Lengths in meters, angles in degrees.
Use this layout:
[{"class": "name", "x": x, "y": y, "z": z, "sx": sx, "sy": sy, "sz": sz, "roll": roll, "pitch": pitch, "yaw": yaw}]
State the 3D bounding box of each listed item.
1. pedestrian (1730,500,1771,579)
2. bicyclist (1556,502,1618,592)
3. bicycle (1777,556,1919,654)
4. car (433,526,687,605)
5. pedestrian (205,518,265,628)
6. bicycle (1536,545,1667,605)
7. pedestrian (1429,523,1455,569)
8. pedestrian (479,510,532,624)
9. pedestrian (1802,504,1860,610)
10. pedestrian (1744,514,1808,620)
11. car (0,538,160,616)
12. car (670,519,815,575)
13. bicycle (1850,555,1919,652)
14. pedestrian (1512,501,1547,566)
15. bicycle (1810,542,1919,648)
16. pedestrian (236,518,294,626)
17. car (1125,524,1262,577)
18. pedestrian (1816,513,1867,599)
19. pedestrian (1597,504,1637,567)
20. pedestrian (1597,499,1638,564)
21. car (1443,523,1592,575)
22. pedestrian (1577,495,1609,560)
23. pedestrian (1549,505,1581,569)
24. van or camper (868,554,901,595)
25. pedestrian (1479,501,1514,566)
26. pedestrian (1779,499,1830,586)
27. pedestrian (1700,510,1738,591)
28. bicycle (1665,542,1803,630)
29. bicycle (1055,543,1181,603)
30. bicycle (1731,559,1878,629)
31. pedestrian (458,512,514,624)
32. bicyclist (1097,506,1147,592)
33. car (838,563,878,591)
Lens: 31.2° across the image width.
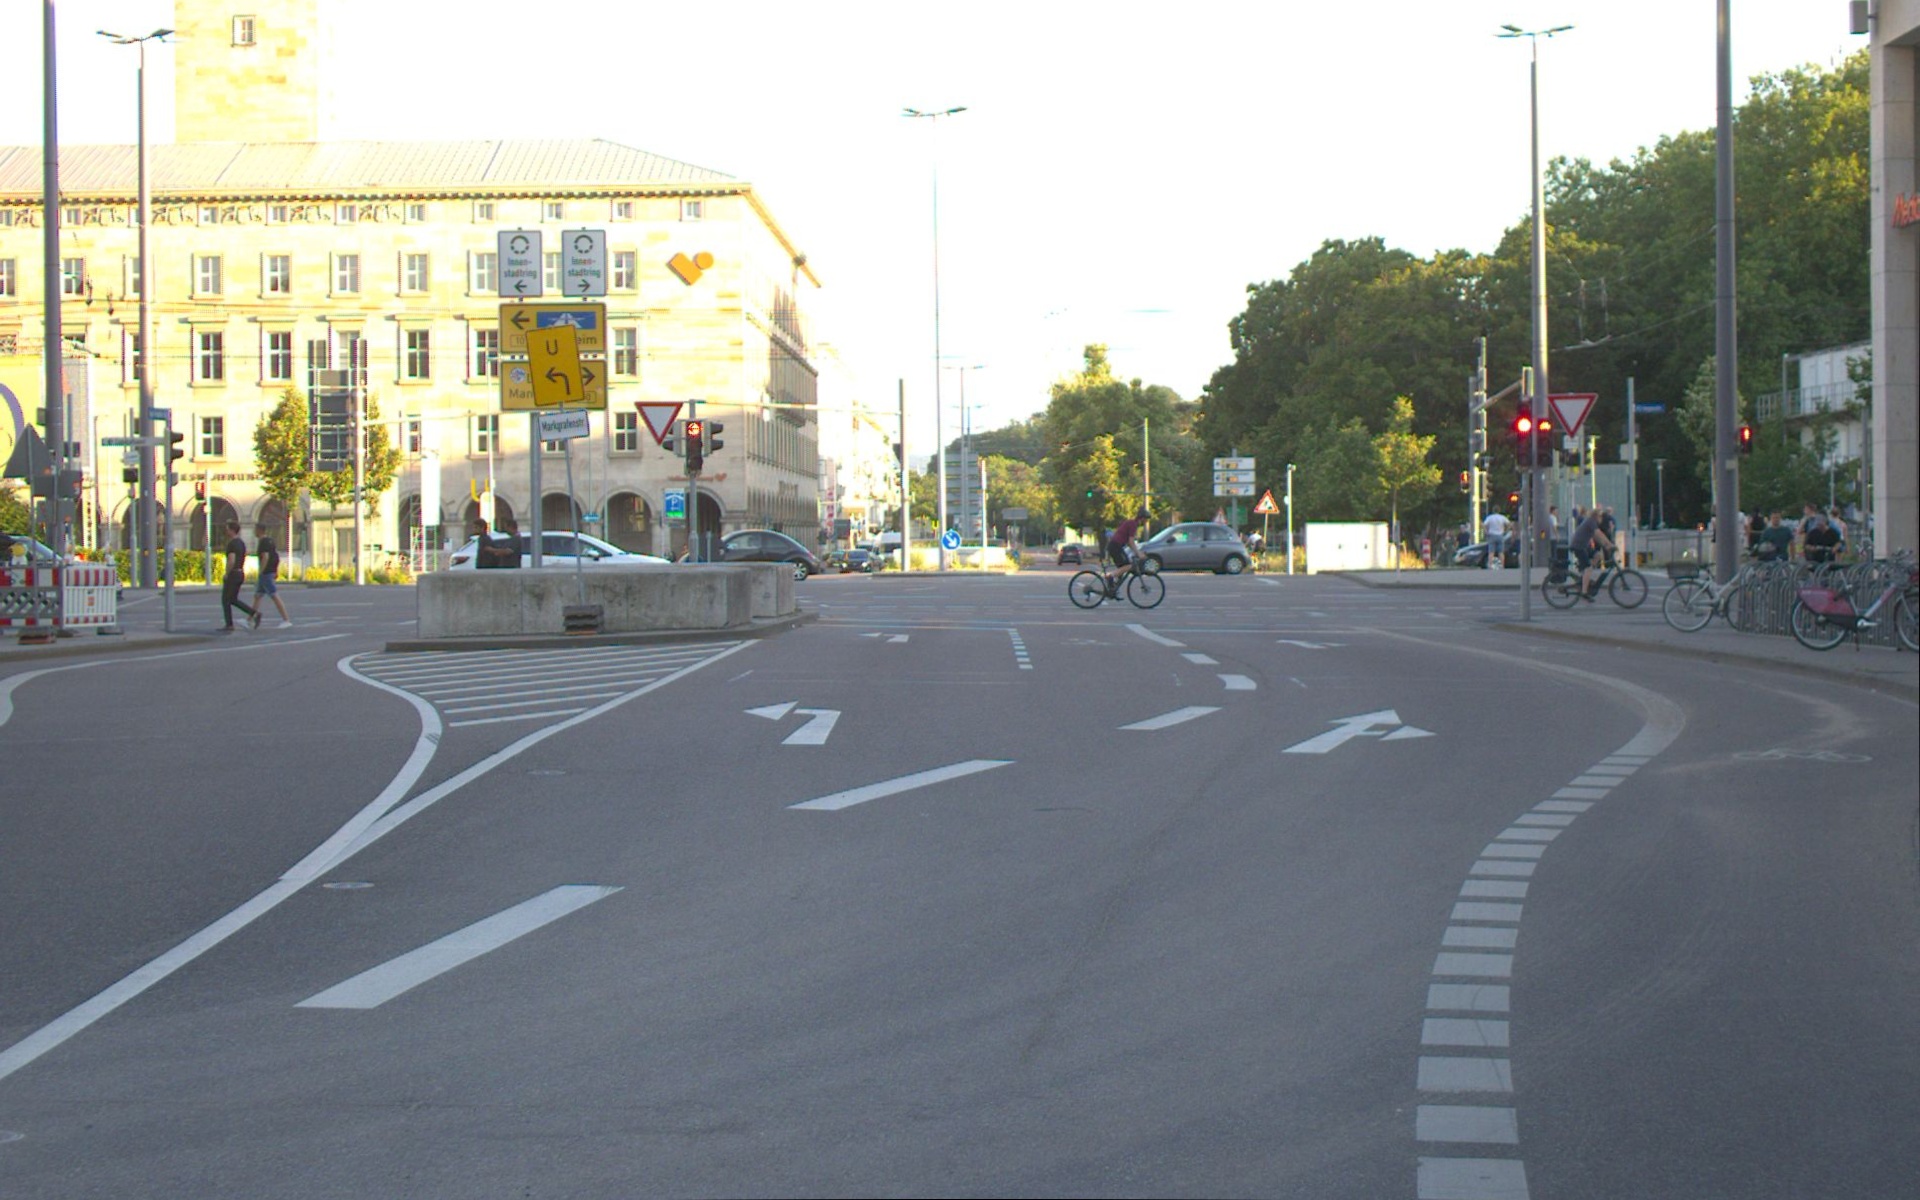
[{"class": "pedestrian", "x": 17.430, "y": -1.333, "z": 75.774, "sx": 0.836, "sy": 1.724, "sz": 0.687, "roll": 0, "pitch": 1, "yaw": 17}, {"class": "bicyclist", "x": 11.308, "y": -0.961, "z": 62.029, "sx": 1.020, "sy": 1.615, "sz": 0.653, "roll": -1, "pitch": 1, "yaw": 3}, {"class": "bicycle", "x": 9.943, "y": 0.052, "z": 37.598, "sx": 1.898, "sy": 1.044, "sz": 0.570, "roll": 0, "pitch": 1, "yaw": 6}, {"class": "car", "x": -7.916, "y": -0.695, "z": 68.371, "sx": 4.797, "sy": 1.490, "sz": 2.128, "roll": 0, "pitch": 1, "yaw": 1}, {"class": "pedestrian", "x": -12.069, "y": -0.456, "z": 57.217, "sx": 0.738, "sy": 1.771, "sz": 0.863, "roll": -3, "pitch": 1, "yaw": -2}, {"class": "bicycle", "x": 11.567, "y": -0.451, "z": 62.033, "sx": 2.242, "sy": 1.058, "sz": 0.653, "roll": -1, "pitch": 1, "yaw": 3}, {"class": "pedestrian", "x": 18.103, "y": -2.034, "z": 129.114, "sx": 0.808, "sy": 1.724, "sz": 0.929, "roll": 0, "pitch": 1, "yaw": -1}, {"class": "pedestrian", "x": -7.154, "y": -0.520, "z": 54.091, "sx": 0.738, "sy": 1.771, "sz": 0.864, "roll": -2, "pitch": 1, "yaw": -11}, {"class": "pedestrian", "x": 14.967, "y": -0.739, "z": 59.085, "sx": 0.756, "sy": 1.771, "sz": 0.741, "roll": -3, "pitch": 1, "yaw": 2}, {"class": "pedestrian", "x": 14.064, "y": -0.567, "z": 59.269, "sx": 0.860, "sy": 1.771, "sz": 0.741, "roll": -3, "pitch": 1, "yaw": 2}, {"class": "car", "x": -18.482, "y": -0.467, "z": 68.701, "sx": 4.460, "sy": 1.490, "sz": 2.128, "roll": 0, "pitch": 1, "yaw": 1}, {"class": "car", "x": -6.102, "y": -1.490, "z": 96.180, "sx": 3.986, "sy": 1.489, "sz": 1.829, "roll": -1, "pitch": 1, "yaw": -5}, {"class": "bicycle", "x": 11.526, "y": 0.051, "z": 40.566, "sx": 1.871, "sy": 1.109, "sz": 0.570, "roll": 2, "pitch": 1, "yaw": 4}, {"class": "pedestrian", "x": 15.245, "y": -1.788, "z": 92.039, "sx": 0.808, "sy": 1.724, "sz": 0.688, "roll": 0, "pitch": 1, "yaw": -1}, {"class": "bicycle", "x": 11.508, "y": -0.060, "z": 42.344, "sx": 1.867, "sy": 1.255, "sz": 0.673, "roll": 1, "pitch": 1, "yaw": 0}, {"class": "pedestrian", "x": -11.745, "y": -0.477, "z": 58.124, "sx": 0.738, "sy": 1.771, "sz": 0.863, "roll": -3, "pitch": 1, "yaw": -2}, {"class": "car", "x": 6.654, "y": -1.424, "z": 98.135, "sx": 3.713, "sy": 1.448, "sz": 1.546, "roll": -1, "pitch": 1, "yaw": -5}, {"class": "pedestrian", "x": 17.811, "y": -0.891, "z": 69.449, "sx": 0.893, "sy": 1.724, "sz": 0.688, "roll": 0, "pitch": 1, "yaw": 5}, {"class": "pedestrian", "x": 17.850, "y": -1.754, "z": 93.377, "sx": 0.686, "sy": 1.724, "sz": 0.811, "roll": -1, "pitch": 1, "yaw": -32}, {"class": "pedestrian", "x": 17.603, "y": -1.843, "z": 92.064, "sx": 0.808, "sy": 1.724, "sz": 0.688, "roll": -1, "pitch": 1, "yaw": -25}, {"class": "car", "x": 16.208, "y": -1.484, "z": 99.996, "sx": 3.974, "sy": 1.448, "sz": 1.546, "roll": -1, "pitch": 1, "yaw": -10}, {"class": "pedestrian", "x": 16.940, "y": -1.928, "z": 91.978, "sx": 0.809, "sy": 1.724, "sz": 0.687, "roll": 0, "pitch": 1, "yaw": 13}, {"class": "pedestrian", "x": 16.355, "y": -1.708, "z": 92.922, "sx": 0.809, "sy": 1.724, "sz": 0.687, "roll": 0, "pitch": 1, "yaw": 13}, {"class": "van or camper", "x": -5.263, "y": -1.812, "z": 239.217, "sx": 1.883, "sy": 2.751, "sz": 4.933, "roll": -1, "pitch": 1, "yaw": -5}, {"class": "pedestrian", "x": 14.326, "y": -1.773, "z": 91.788, "sx": 0.808, "sy": 1.724, "sz": 0.688, "roll": 0, "pitch": 1, "yaw": -1}, {"class": "pedestrian", "x": 16.805, "y": -1.148, "z": 68.426, "sx": 0.893, "sy": 1.724, "sz": 0.688, "roll": 0, "pitch": 1, "yaw": 6}, {"class": "pedestrian", "x": 16.224, "y": -1.066, "z": 73.497, "sx": 0.692, "sy": 1.724, "sz": 0.741, "roll": 0, "pitch": 1, "yaw": 3}, {"class": "bicycle", "x": 10.673, "y": -0.194, "z": 47.381, "sx": 1.819, "sy": 1.208, "sz": 0.570, "roll": 0, "pitch": 1, "yaw": 17}, {"class": "bicycle", "x": 2.848, "y": -0.489, "z": 61.948, "sx": 2.242, "sy": 1.058, "sz": 0.653, "roll": -1, "pitch": 1, "yaw": 3}, {"class": "bicycle", "x": 11.533, "y": -0.087, "z": 46.975, "sx": 1.867, "sy": 0.933, "sz": 0.516, "roll": 0, "pitch": 1, "yaw": 0}, {"class": "pedestrian", "x": -7.573, "y": -0.513, "z": 54.878, "sx": 0.738, "sy": 1.771, "sz": 0.864, "roll": 0, "pitch": 1, "yaw": -18}, {"class": "bicyclist", "x": 2.912, "y": -0.927, "z": 61.939, "sx": 0.879, "sy": 1.525, "sz": 0.653, "roll": -1, "pitch": 1, "yaw": 3}, {"class": "car", "x": -5.740, "y": -1.303, "z": 194.147, "sx": 1.994, "sy": 1.514, "sz": 4.000, "roll": -1, "pitch": 1, "yaw": 2}]
